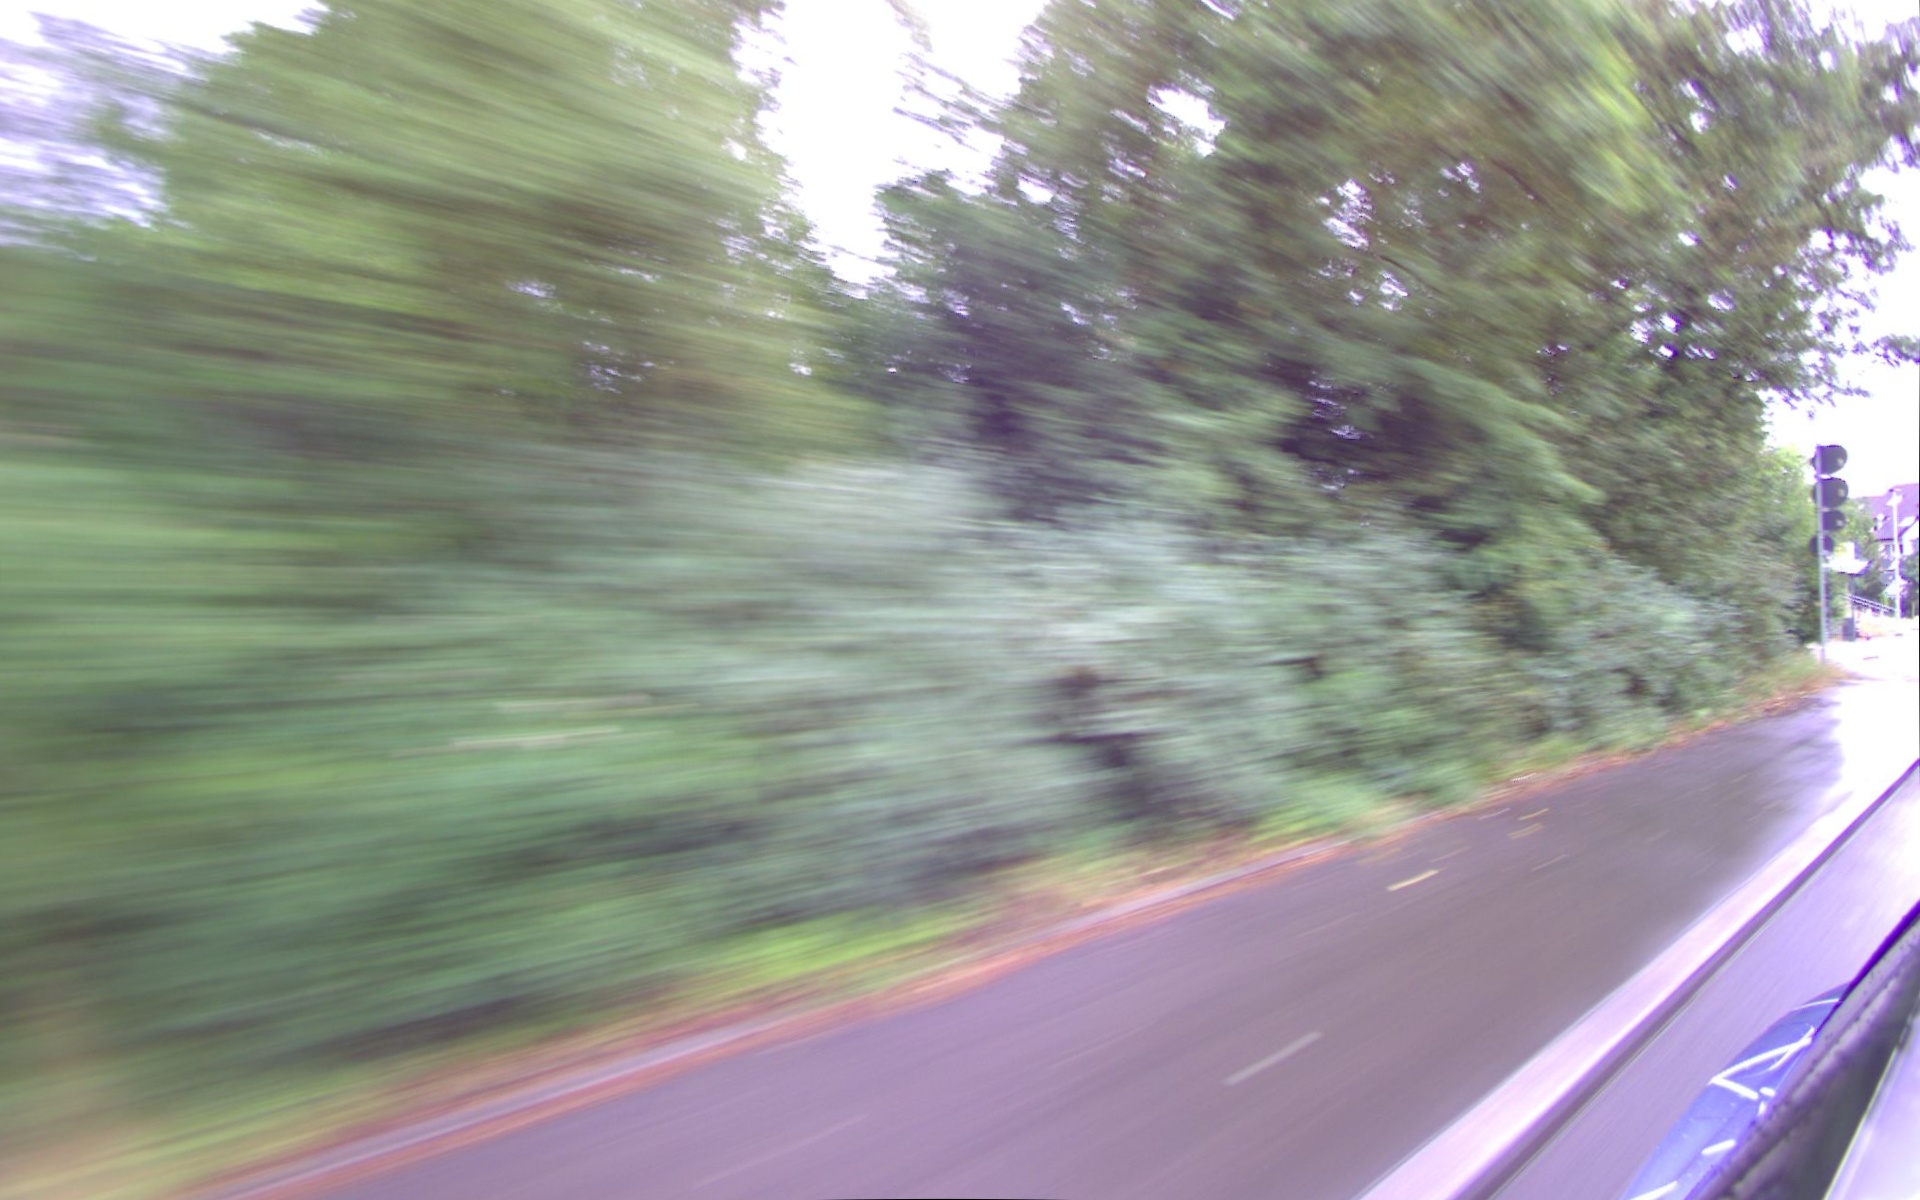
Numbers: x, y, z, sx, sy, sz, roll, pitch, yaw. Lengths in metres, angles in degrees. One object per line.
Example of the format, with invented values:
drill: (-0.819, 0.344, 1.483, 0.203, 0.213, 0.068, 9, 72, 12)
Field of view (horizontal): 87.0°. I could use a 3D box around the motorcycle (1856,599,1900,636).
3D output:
motorcycle: (33.579, 0.638, 37.017, 1.506, 1.305, 0.592, 0, -1, -23)
